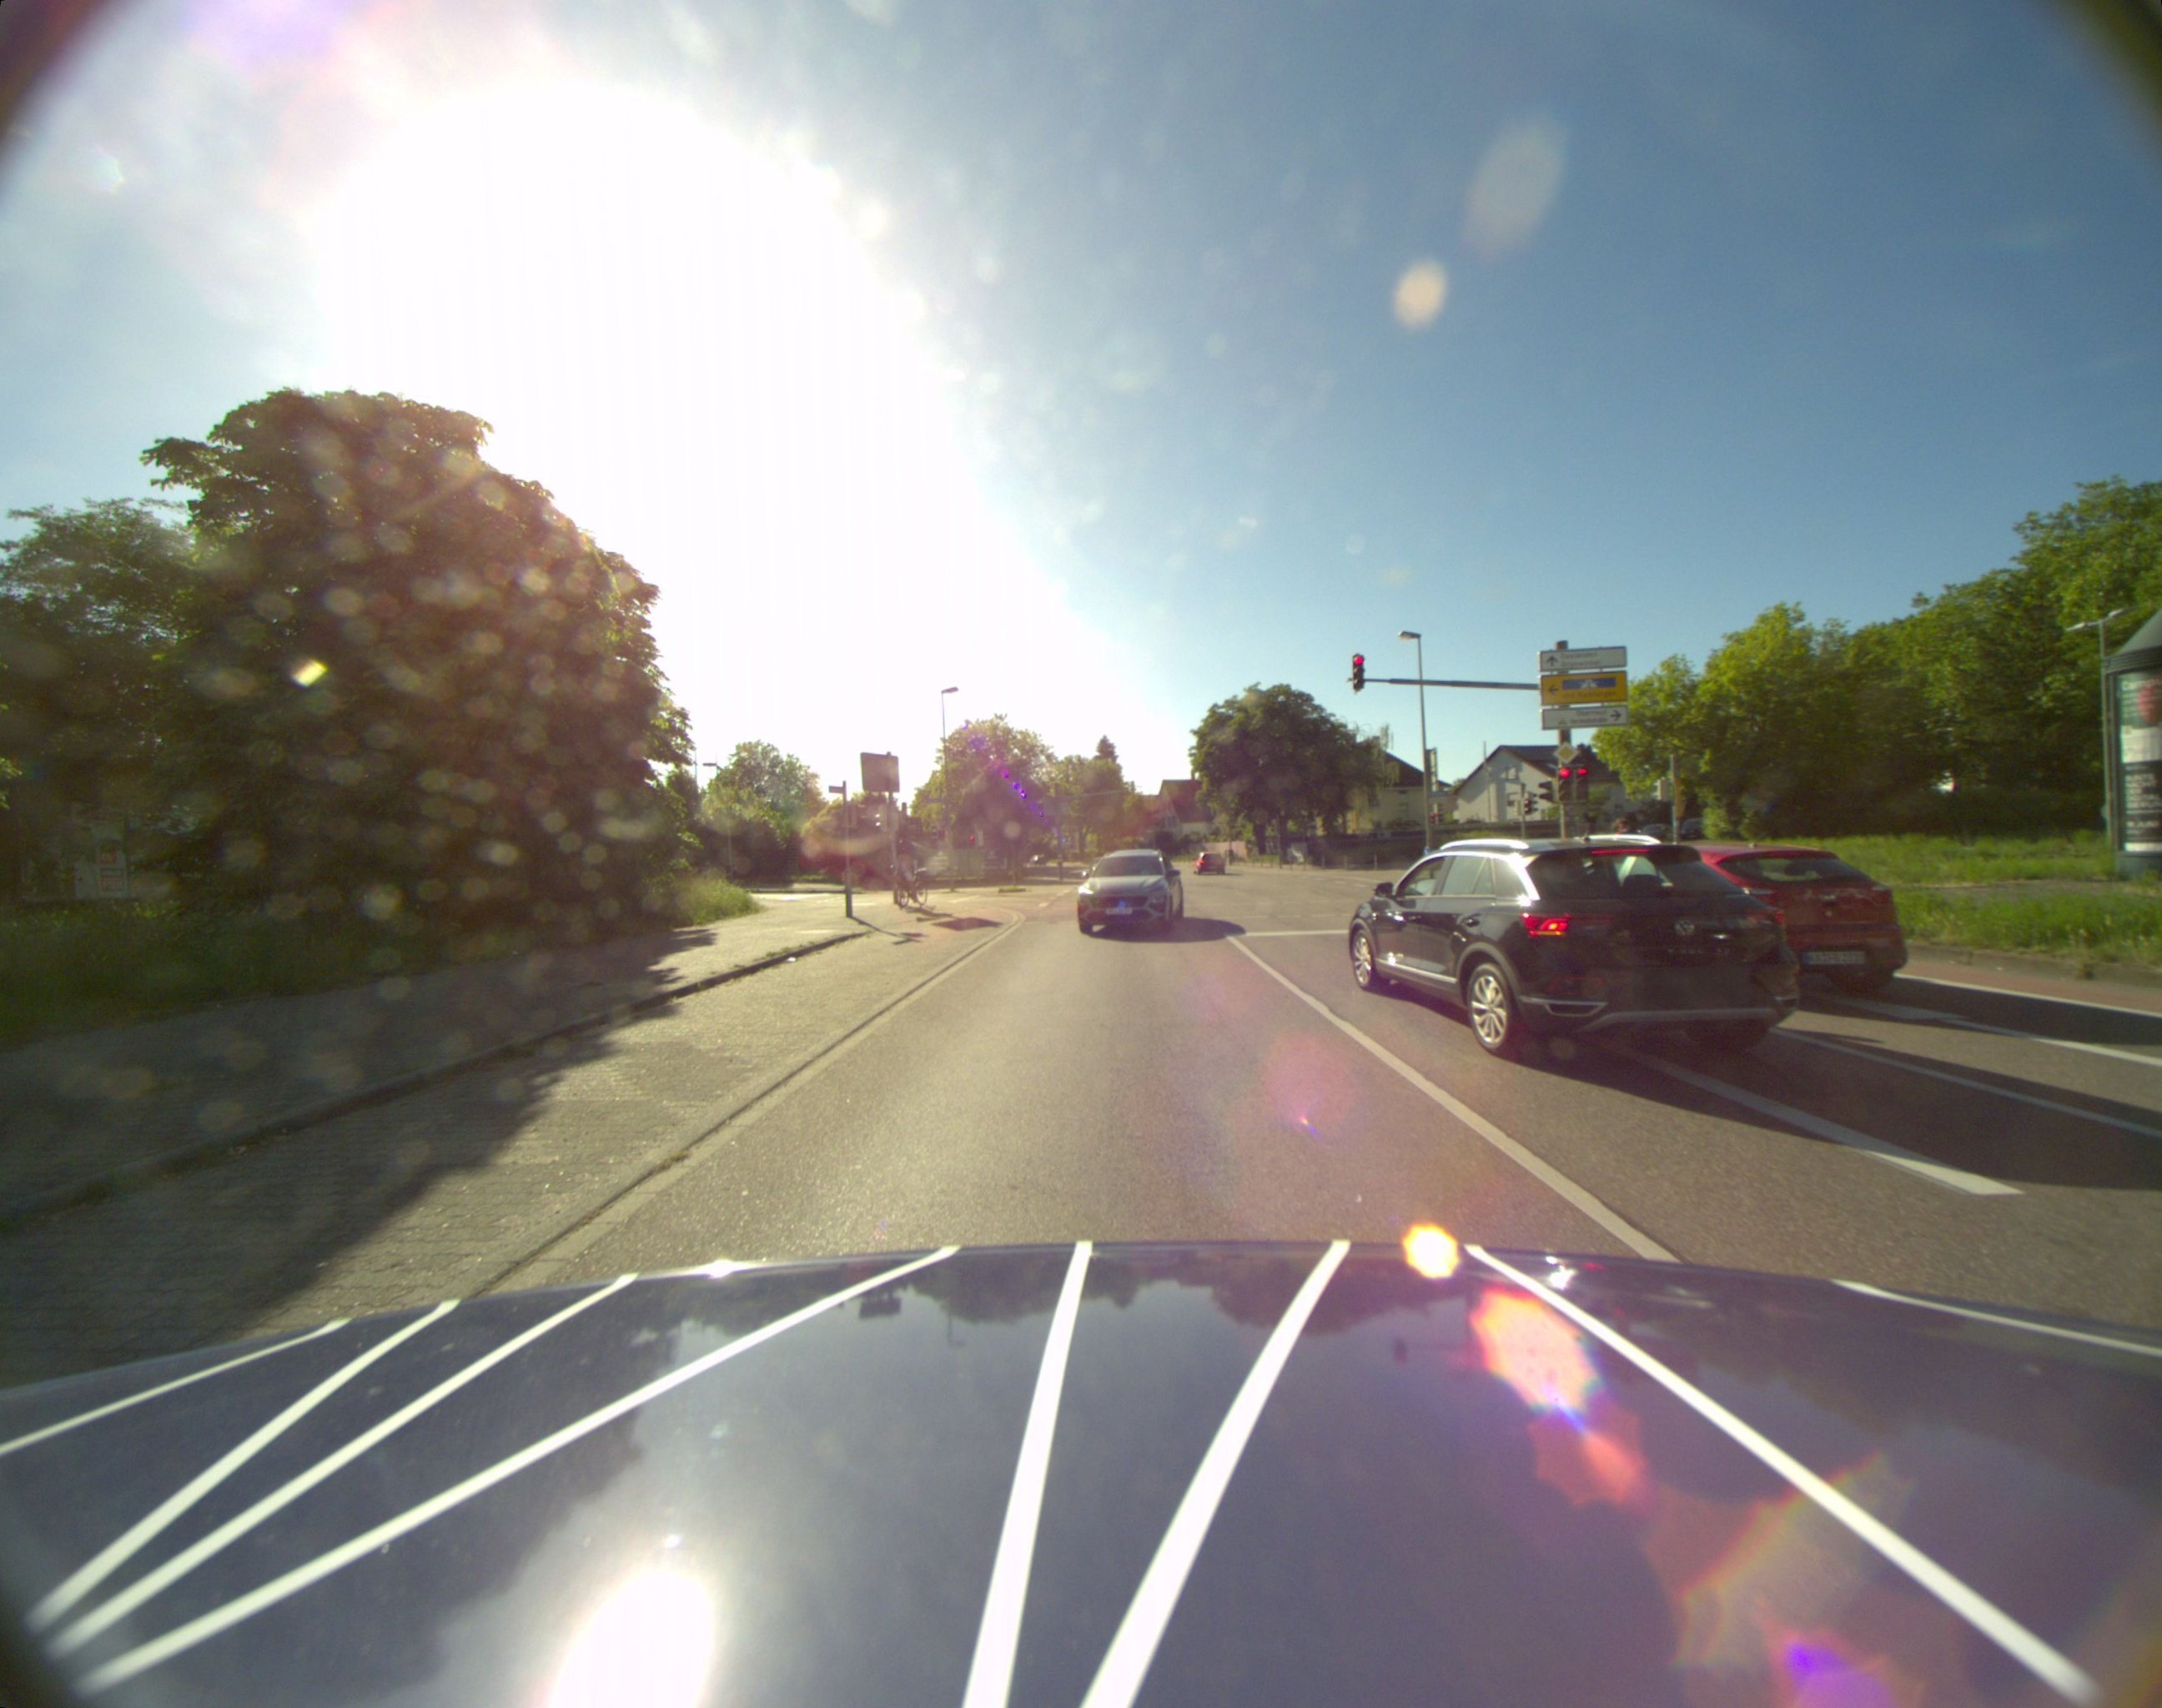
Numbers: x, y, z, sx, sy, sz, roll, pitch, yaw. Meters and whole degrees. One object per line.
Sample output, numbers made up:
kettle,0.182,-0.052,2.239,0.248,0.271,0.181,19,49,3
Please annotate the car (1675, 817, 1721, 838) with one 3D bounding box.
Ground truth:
car,53.891,-2.354,66.383,4.006,1.656,1.959,-3,1,-34

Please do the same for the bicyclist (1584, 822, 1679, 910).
bicyclist,9.204,0.197,12.741,0.935,1.393,0.823,-3,0,3

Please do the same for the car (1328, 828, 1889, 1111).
car,3.739,0.664,6.434,1.918,1.590,3.999,-2,0,0

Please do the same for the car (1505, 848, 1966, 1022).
car,6.619,0.675,8.373,1.788,1.406,3.891,-2,0,2

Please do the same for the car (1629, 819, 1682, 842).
car,44.921,-1.844,59.402,4.006,1.547,1.996,-3,0,-32

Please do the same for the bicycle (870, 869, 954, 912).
bicycle,-5.040,1.063,22.999,0.901,1.119,2.957,-3,0,23

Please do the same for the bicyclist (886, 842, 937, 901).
bicyclist,-5.098,0.517,22.943,0.890,1.683,1.192,-3,0,23

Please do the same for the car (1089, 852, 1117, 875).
car,1.585,0.655,56.893,1.809,1.523,4.514,-3,1,-1

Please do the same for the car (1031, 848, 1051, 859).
car,-6.582,-0.066,123.477,1.864,1.625,4.249,-2,0,-22

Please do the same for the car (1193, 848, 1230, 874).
car,8.225,0.388,48.135,1.861,1.461,4.139,-3,1,4

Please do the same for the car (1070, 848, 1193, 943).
car,1.202,0.762,15.927,1.713,1.636,4.059,-2,1,15
